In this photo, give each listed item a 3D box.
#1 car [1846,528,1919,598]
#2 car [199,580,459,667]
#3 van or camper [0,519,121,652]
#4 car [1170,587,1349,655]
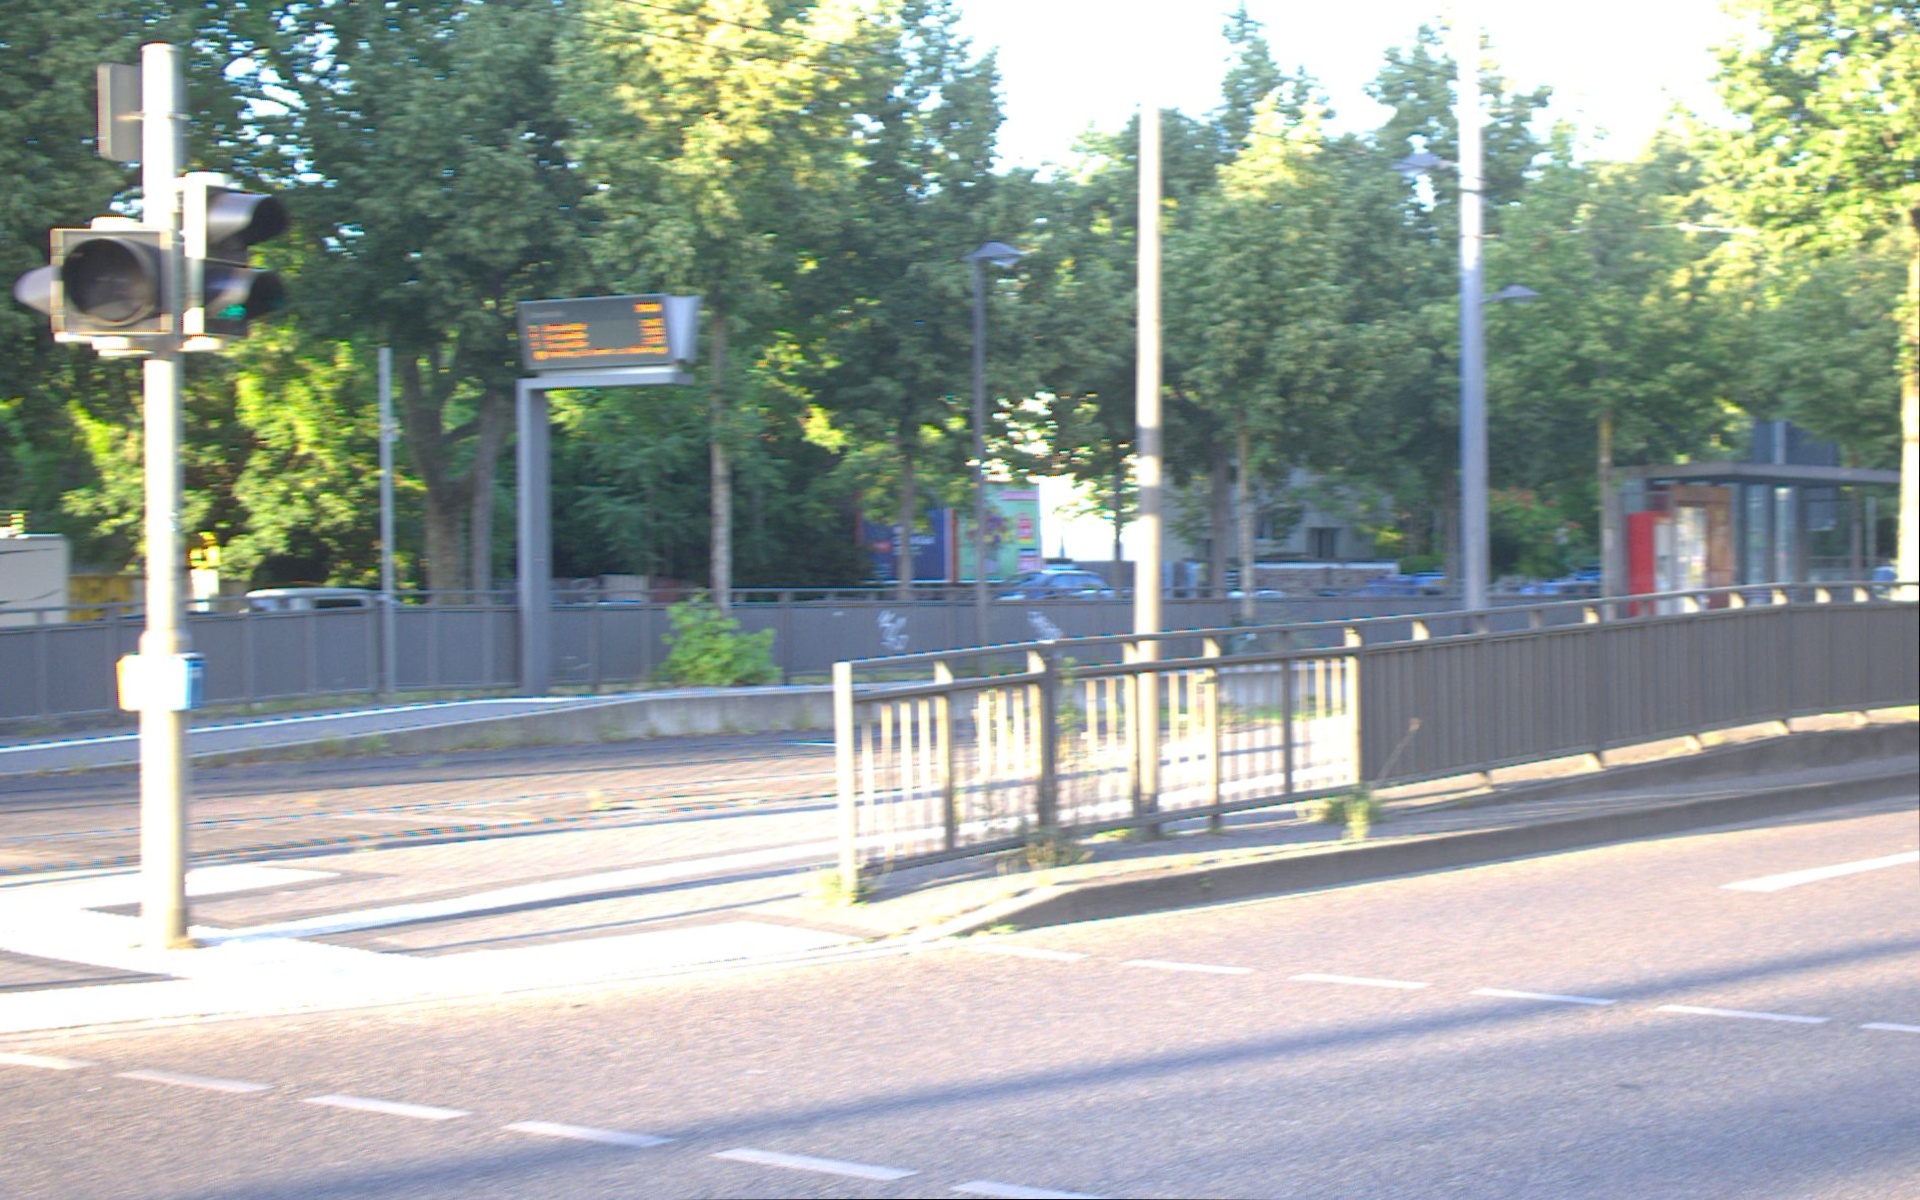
[{"bbox_3d":[29.674,-1.190,108.940,1.779,2.177,3.992,0,1,36],"label":"car"},{"bbox_3d":[-11.119,0.387,60.826,1.998,1.460,4.234,0,0,39],"label":"car"},{"bbox_3d":[-18.599,-0.235,62.124,2.262,2.402,6.569,-1,0,41],"label":"van or camper"},{"bbox_3d":[6.773,0.450,77.452,1.998,1.460,4.234,0,0,39],"label":"car"}]
